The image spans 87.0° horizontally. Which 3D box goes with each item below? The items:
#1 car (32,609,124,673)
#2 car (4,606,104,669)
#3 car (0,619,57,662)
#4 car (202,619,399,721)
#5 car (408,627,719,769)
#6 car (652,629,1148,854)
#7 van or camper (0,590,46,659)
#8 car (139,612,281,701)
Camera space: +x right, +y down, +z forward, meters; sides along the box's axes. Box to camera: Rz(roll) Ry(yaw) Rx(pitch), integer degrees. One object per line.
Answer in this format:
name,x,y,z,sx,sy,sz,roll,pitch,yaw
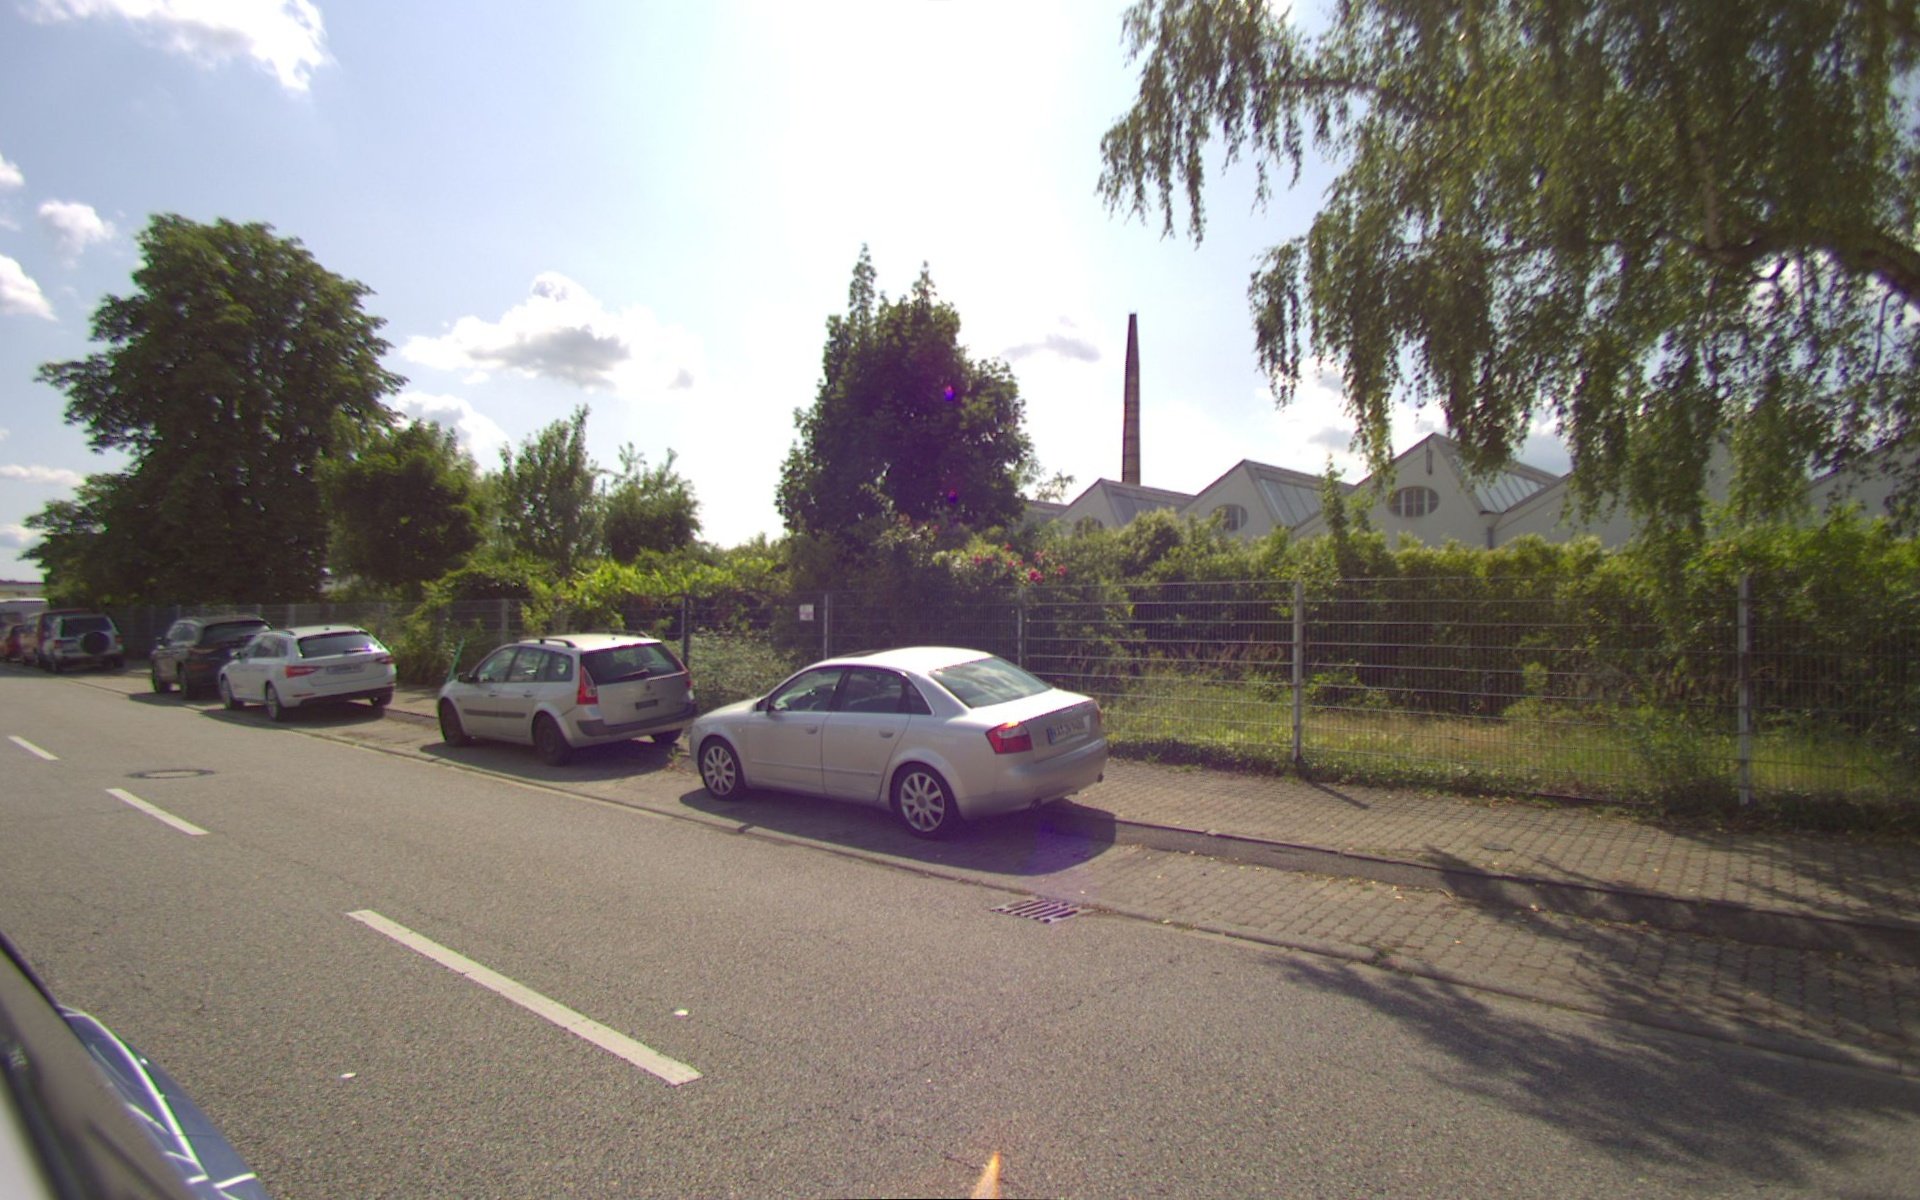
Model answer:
car,-27.680,1.246,31.731,3.825,1.815,1.682,-1,1,42
car,-32.376,1.280,36.102,4.954,1.969,1.879,-1,3,40
car,-37.004,1.568,39.829,4.265,1.544,1.608,-1,0,40
car,-11.949,1.167,18.201,4.784,1.607,1.682,-1,-3,41
car,-5.342,1.152,13.327,4.655,1.539,1.776,-1,-3,40
car,-0.746,1.072,9.359,4.626,1.488,1.707,-1,2,39
van or camper,-42.535,1.062,44.567,6.825,2.824,2.241,-1,1,39
car,-16.494,1.163,22.165,4.634,1.758,1.594,-1,-1,42
